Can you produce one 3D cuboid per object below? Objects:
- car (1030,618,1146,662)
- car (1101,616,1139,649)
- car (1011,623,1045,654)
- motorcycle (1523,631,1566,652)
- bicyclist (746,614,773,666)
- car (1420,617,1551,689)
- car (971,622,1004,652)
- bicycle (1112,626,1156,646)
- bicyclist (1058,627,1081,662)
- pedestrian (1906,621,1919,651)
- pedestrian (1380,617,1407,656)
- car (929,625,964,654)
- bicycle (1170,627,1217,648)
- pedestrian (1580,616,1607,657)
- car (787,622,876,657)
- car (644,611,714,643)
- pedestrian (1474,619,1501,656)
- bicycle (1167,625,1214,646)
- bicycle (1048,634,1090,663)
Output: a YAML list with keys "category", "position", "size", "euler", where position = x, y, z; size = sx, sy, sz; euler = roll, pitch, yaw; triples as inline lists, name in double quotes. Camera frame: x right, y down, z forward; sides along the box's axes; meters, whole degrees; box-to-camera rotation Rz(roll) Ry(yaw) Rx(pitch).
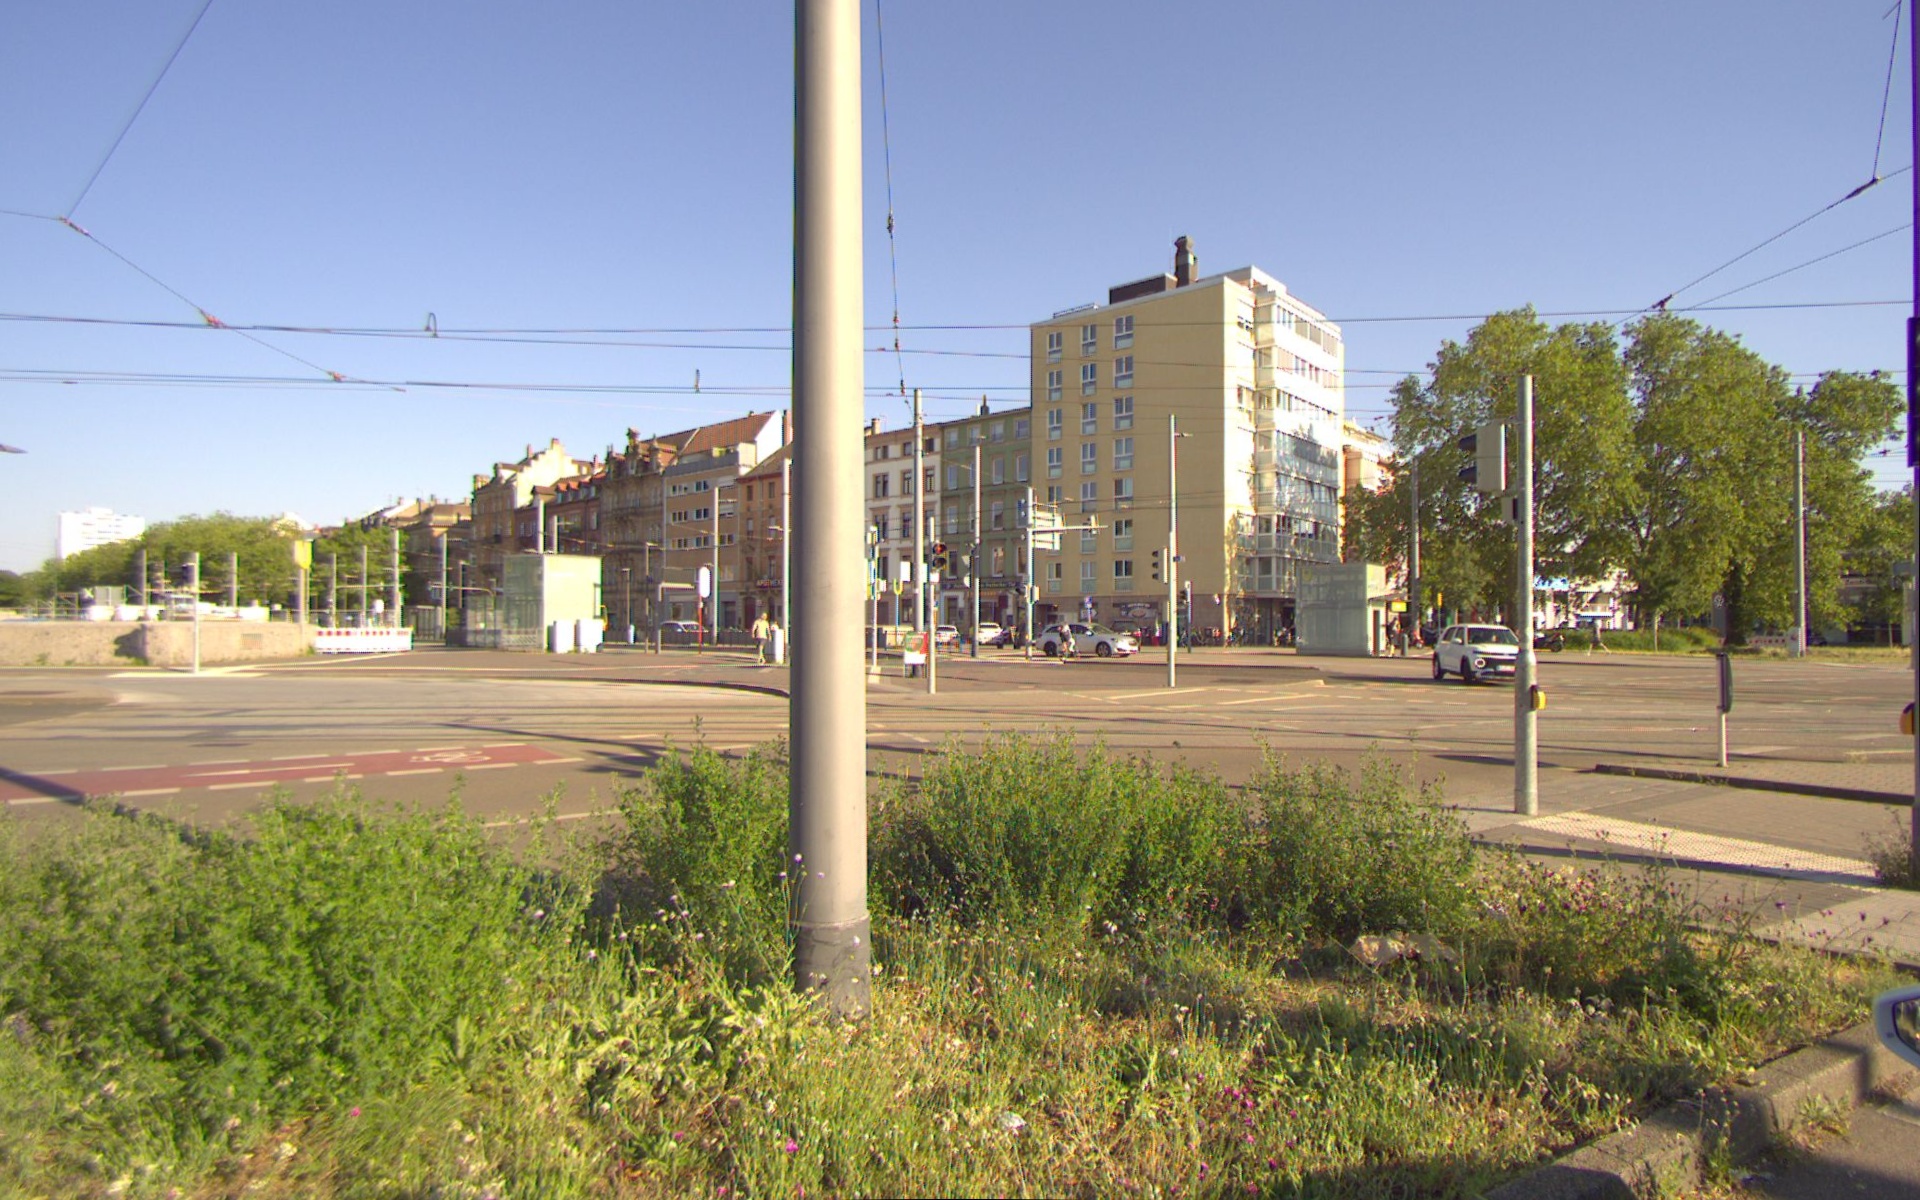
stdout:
- category: "car"
  position: [5.467, 1.676, 43.211]
  size: [4.641, 1.684, 1.781]
  euler: [2, 0, 34]
- category: "car"
  position: [9.106, 1.848, 57.371]
  size: [1.684, 1.728, 4.001]
  euler: [2, 0, 4]
- category: "car"
  position: [4.172, 2.315, 61.848]
  size: [1.960, 1.728, 4.001]
  euler: [2, 0, 4]
- category: "motorcycle"
  position: [29.148, 2.059, 50.108]
  size: [1.753, 0.926, 0.676]
  euler: [2, 0, 41]
- category: "bicyclist"
  position: [-6.737, 1.334, 33.783]
  size: [0.653, 1.706, 0.980]
  euler: [2, 0, 2]
- category: "car"
  position: [13.917, 1.336, 26.872]
  size: [1.750, 1.684, 4.002]
  euler: [2, 0, 6]
- category: "car"
  position: [1.778, 2.329, 63.979]
  size: [1.960, 1.728, 4.001]
  euler: [2, 0, 4]
- category: "bicycle"
  position: [11.459, 2.382, 66.184]
  size: [3.003, 1.167, 0.637]
  euler: [1, 0, 44]
- category: "bicyclist"
  position: [4.420, 1.796, 40.699]
  size: [0.617, 1.368, 0.658]
  euler: [2, 0, 44]
- category: "pedestrian"
  position: [55.827, 2.111, 58.571]
  size: [0.491, 1.716, 0.852]
  euler: [2, 0, -32]
- category: "pedestrian"
  position: [19.473, 1.645, 45.133]
  size: [0.747, 1.728, 0.793]
  euler: [2, 0, -22]
- category: "car"
  position: [-0.845, 2.569, 66.345]
  size: [1.960, 1.728, 4.001]
  euler: [2, 0, 4]
- category: "bicycle"
  position: [14.822, 2.361, 63.812]
  size: [3.003, 1.167, 0.637]
  euler: [1, 0, 44]
- category: "pedestrian"
  position: [30.026, 1.727, 47.612]
  size: [0.747, 1.911, 0.793]
  euler: [2, 0, -22]
- category: "car"
  position: [-6.980, 2.127, 54.289]
  size: [4.836, 1.848, 1.991]
  euler: [-1, -3, 40]
- category: "car"
  position: [-17.978, 1.714, 64.170]
  size: [4.837, 1.849, 1.990]
  euler: [2, 0, 41]
- category: "pedestrian"
  position: [25.216, 1.776, 48.014]
  size: [0.747, 1.728, 0.793]
  euler: [2, 0, -22]
- category: "bicycle"
  position: [14.488, 2.208, 63.225]
  size: [3.003, 1.167, 0.637]
  euler: [1, 0, 44]
- category: "bicycle"
  position: [4.431, 1.953, 40.736]
  size: [0.617, 1.104, 1.914]
  euler: [2, 0, 44]
